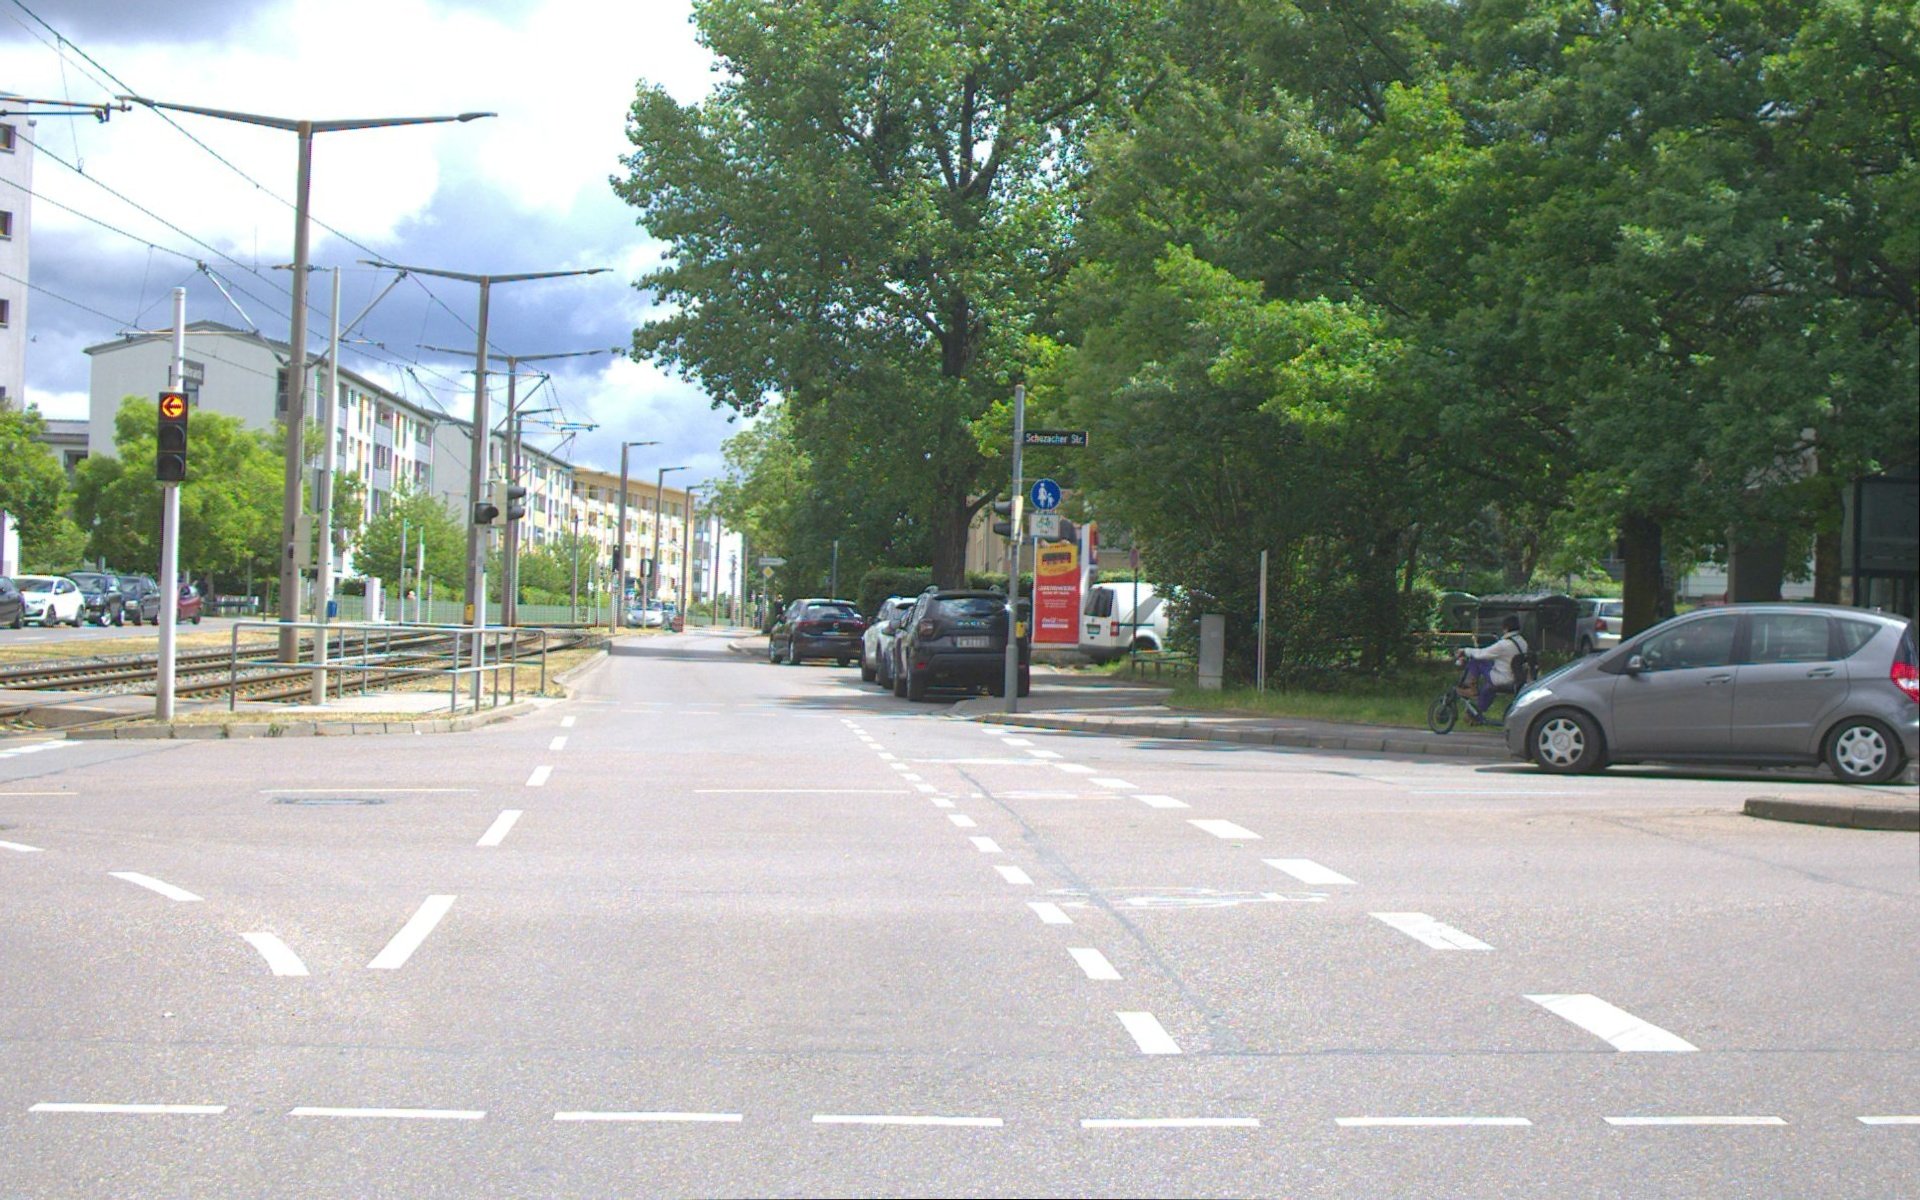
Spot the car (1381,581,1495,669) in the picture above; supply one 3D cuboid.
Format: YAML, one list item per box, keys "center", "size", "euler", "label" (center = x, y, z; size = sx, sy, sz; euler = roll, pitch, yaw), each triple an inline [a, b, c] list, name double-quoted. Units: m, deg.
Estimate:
- center: [10.304, 0.512, 74.370]
  size: [1.630, 1.804, 4.033]
  euler: [1, 1, -4]
  label: "car"

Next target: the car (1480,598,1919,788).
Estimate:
- center: [6.800, 0.798, 30.989]
  size: [3.910, 1.550, 1.998]
  euler: [1, 1, 17]
  label: "car"

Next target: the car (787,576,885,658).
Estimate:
- center: [-2.664, 0.341, 74.448]
  size: [1.993, 1.678, 4.000]
  euler: [1, 1, -1]
  label: "car"

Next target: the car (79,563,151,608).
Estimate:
- center: [-26.928, -0.473, 109.649]
  size: [1.760, 1.390, 4.001]
  euler: [1, 1, -7]
  label: "car"

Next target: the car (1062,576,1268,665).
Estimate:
- center: [4.373, 0.443, 73.335]
  size: [3.986, 1.817, 1.779]
  euler: [1, 1, -23]
  label: "car"

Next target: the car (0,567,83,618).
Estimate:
- center: [-26.295, -0.237, 98.493]
  size: [1.760, 1.390, 4.001]
  euler: [1, 1, -7]
  label: "car"

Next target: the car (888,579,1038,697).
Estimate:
- center: [0.027, 0.556, 51.811]
  size: [2.152, 1.678, 4.000]
  euler: [1, 0, -1]
  label: "car"

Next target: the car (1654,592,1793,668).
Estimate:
- center: [17.062, 0.649, 77.032]
  size: [1.730, 1.589, 4.001]
  euler: [1, 1, -8]
  label: "car"

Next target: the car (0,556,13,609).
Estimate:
- center: [-26.300, -0.473, 91.089]
  size: [1.760, 1.390, 4.001]
  euler: [1, 1, -7]
  label: "car"

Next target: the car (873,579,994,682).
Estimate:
- center: [-0.463, 0.518, 59.258]
  size: [1.993, 1.678, 4.000]
  euler: [1, 0, -1]
  label: "car"

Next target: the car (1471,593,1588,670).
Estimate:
- center: [12.425, 0.667, 75.247]
  size: [1.630, 1.567, 4.033]
  euler: [1, 1, -4]
  label: "car"

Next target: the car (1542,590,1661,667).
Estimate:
- center: [14.259, 0.616, 76.593]
  size: [1.630, 1.589, 4.001]
  euler: [1, 1, -4]
  label: "car"

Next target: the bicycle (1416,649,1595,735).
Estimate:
- center: [5.741, 0.962, 36.262]
  size: [0.791, 0.816, 1.807]
  euler: [1, 1, -37]
  label: "bicycle"

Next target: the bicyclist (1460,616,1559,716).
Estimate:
- center: [5.795, 0.695, 36.243]
  size: [0.791, 1.019, 0.636]
  euler: [1, 1, -36]
  label: "bicyclist"

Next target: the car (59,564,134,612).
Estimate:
- center: [-26.372, -0.380, 105.085]
  size: [1.760, 1.390, 4.001]
  euler: [1, 1, -7]
  label: "car"
